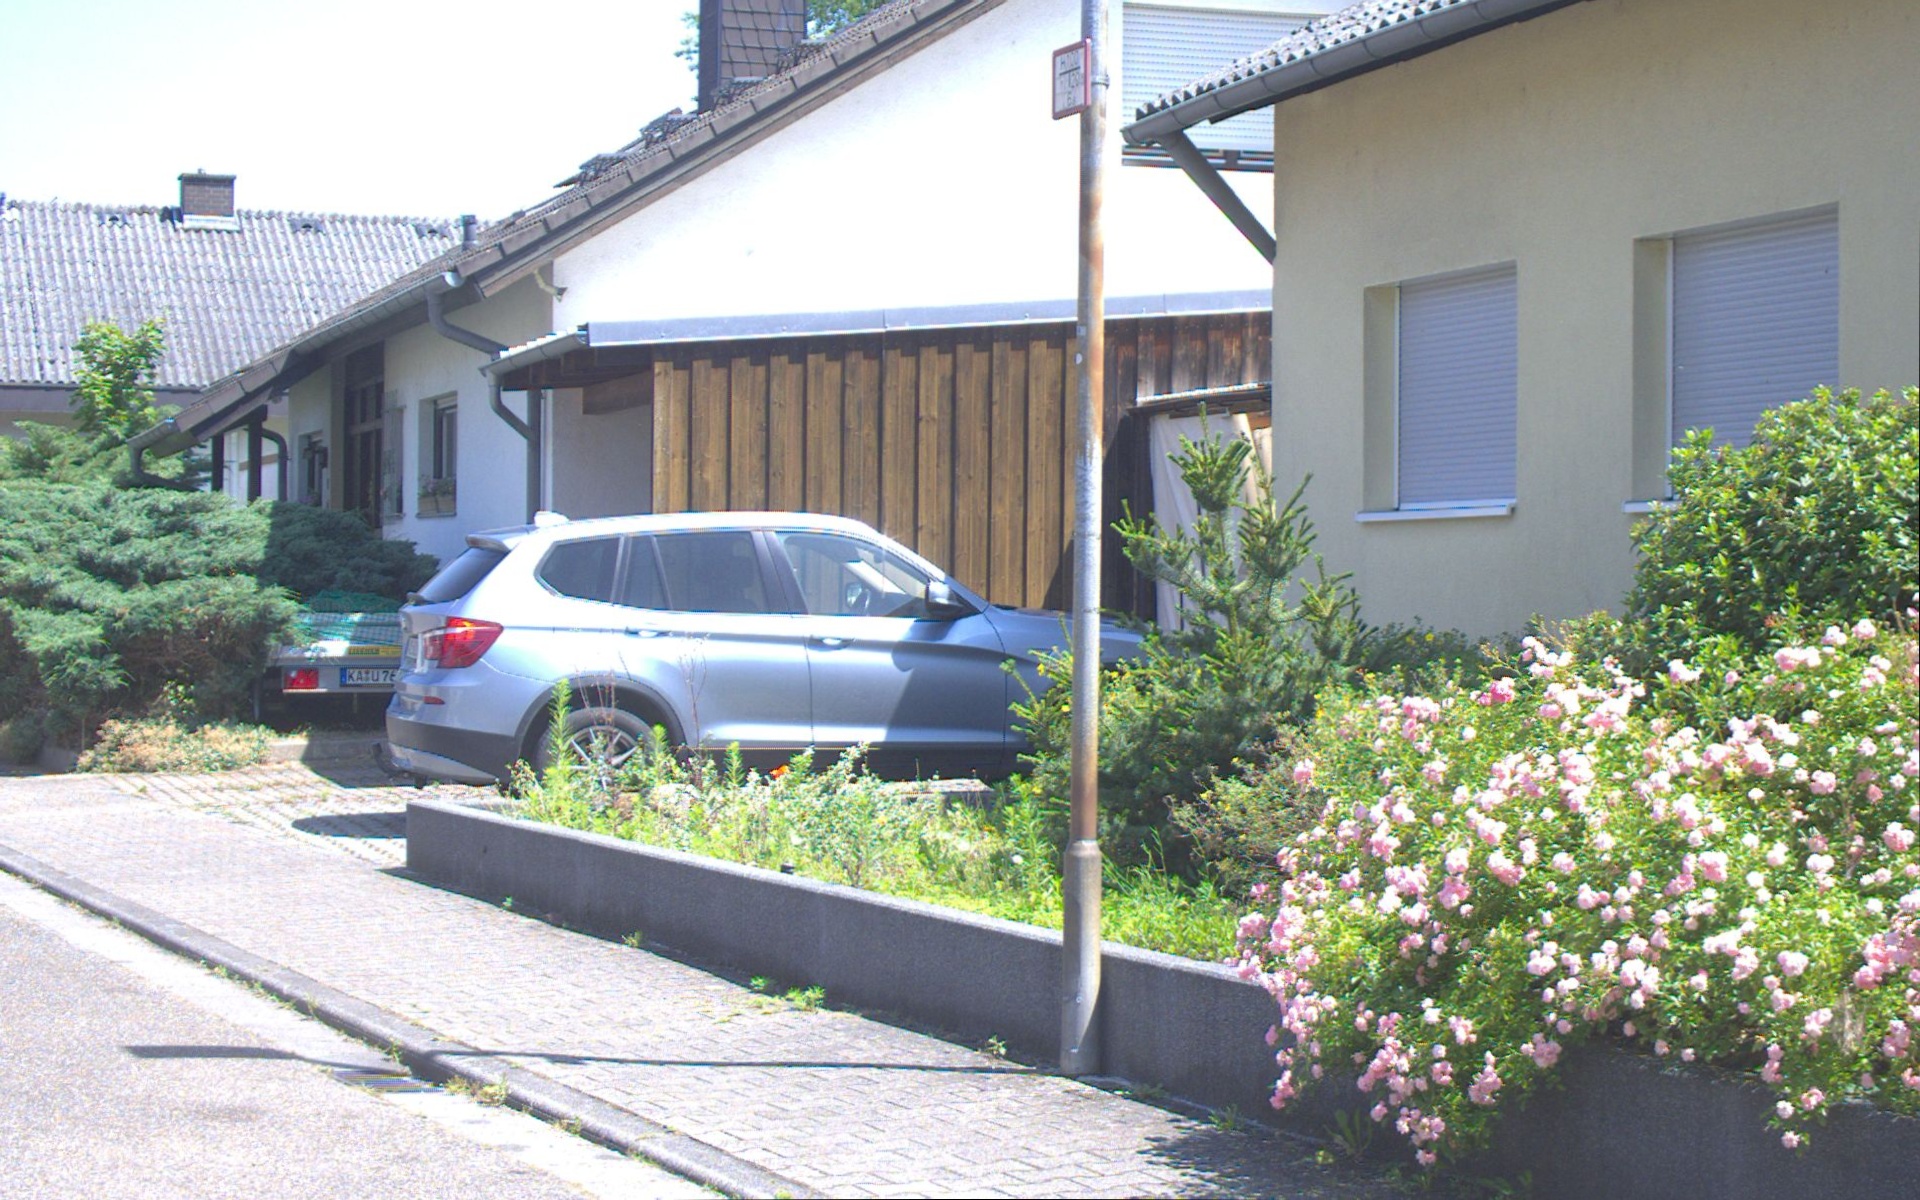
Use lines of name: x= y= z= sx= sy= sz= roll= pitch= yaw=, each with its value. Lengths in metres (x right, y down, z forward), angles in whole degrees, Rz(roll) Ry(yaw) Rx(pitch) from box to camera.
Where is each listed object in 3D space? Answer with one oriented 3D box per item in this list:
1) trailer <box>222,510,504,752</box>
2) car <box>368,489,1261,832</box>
trailer: x=-4.524 y=0.168 z=25.732 sx=1.586 sy=1.666 sz=3.297 roll=-1 pitch=2 yaw=-18
car: x=-0.825 y=0.275 z=18.951 sx=4.626 sy=1.696 sz=1.710 roll=-1 pitch=1 yaw=-16
